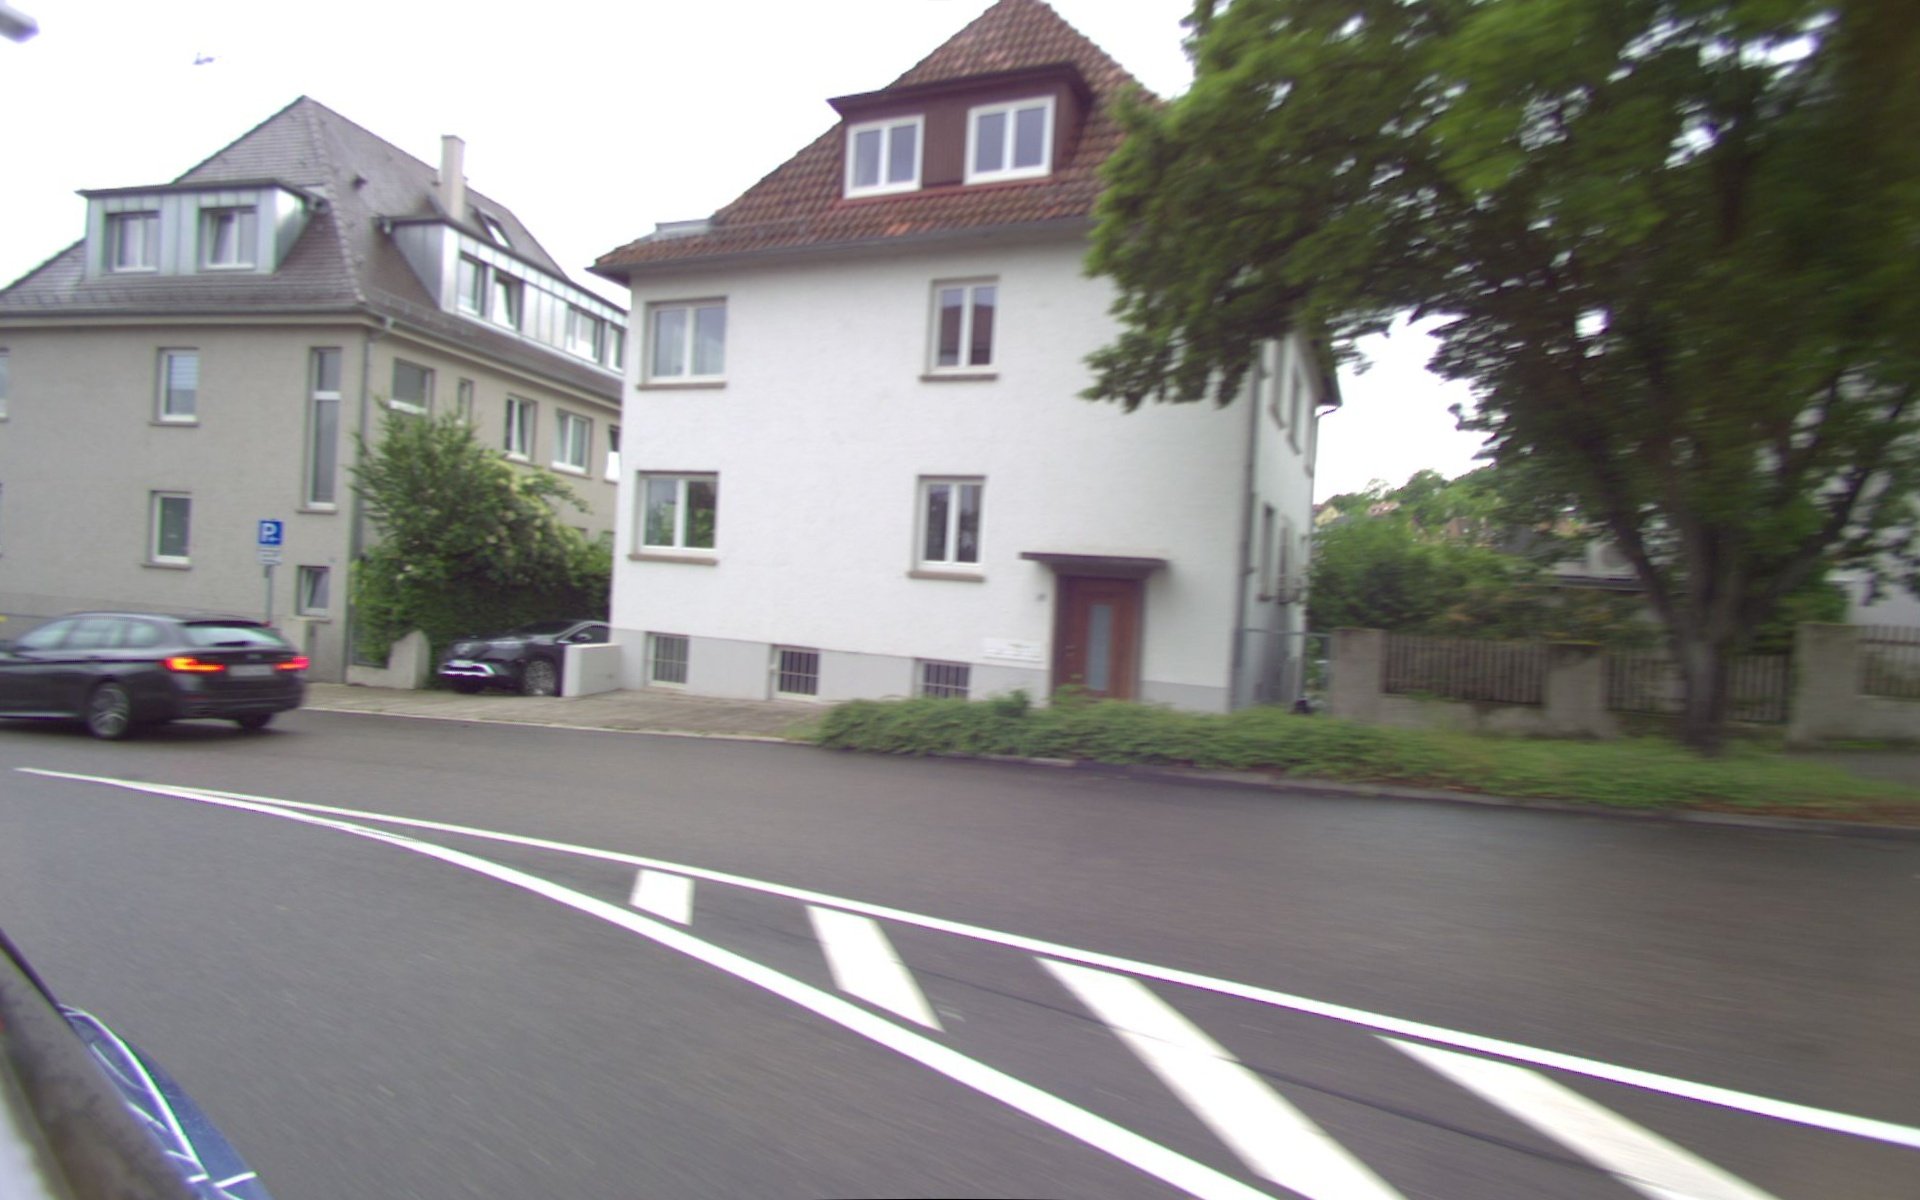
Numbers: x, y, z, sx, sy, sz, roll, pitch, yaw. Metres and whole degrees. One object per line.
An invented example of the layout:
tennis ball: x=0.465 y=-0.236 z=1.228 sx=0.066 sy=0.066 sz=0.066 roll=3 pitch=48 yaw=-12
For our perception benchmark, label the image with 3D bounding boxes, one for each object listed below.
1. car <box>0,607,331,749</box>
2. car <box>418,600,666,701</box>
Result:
car: x=-10.431 y=0.877 z=12.632 sx=4.600 sy=1.503 sz=1.864 roll=1 pitch=-2 yaw=19
car: x=-7.778 y=0.841 z=19.276 sx=1.987 sy=1.636 sz=4.221 roll=1 pitch=1 yaw=23
